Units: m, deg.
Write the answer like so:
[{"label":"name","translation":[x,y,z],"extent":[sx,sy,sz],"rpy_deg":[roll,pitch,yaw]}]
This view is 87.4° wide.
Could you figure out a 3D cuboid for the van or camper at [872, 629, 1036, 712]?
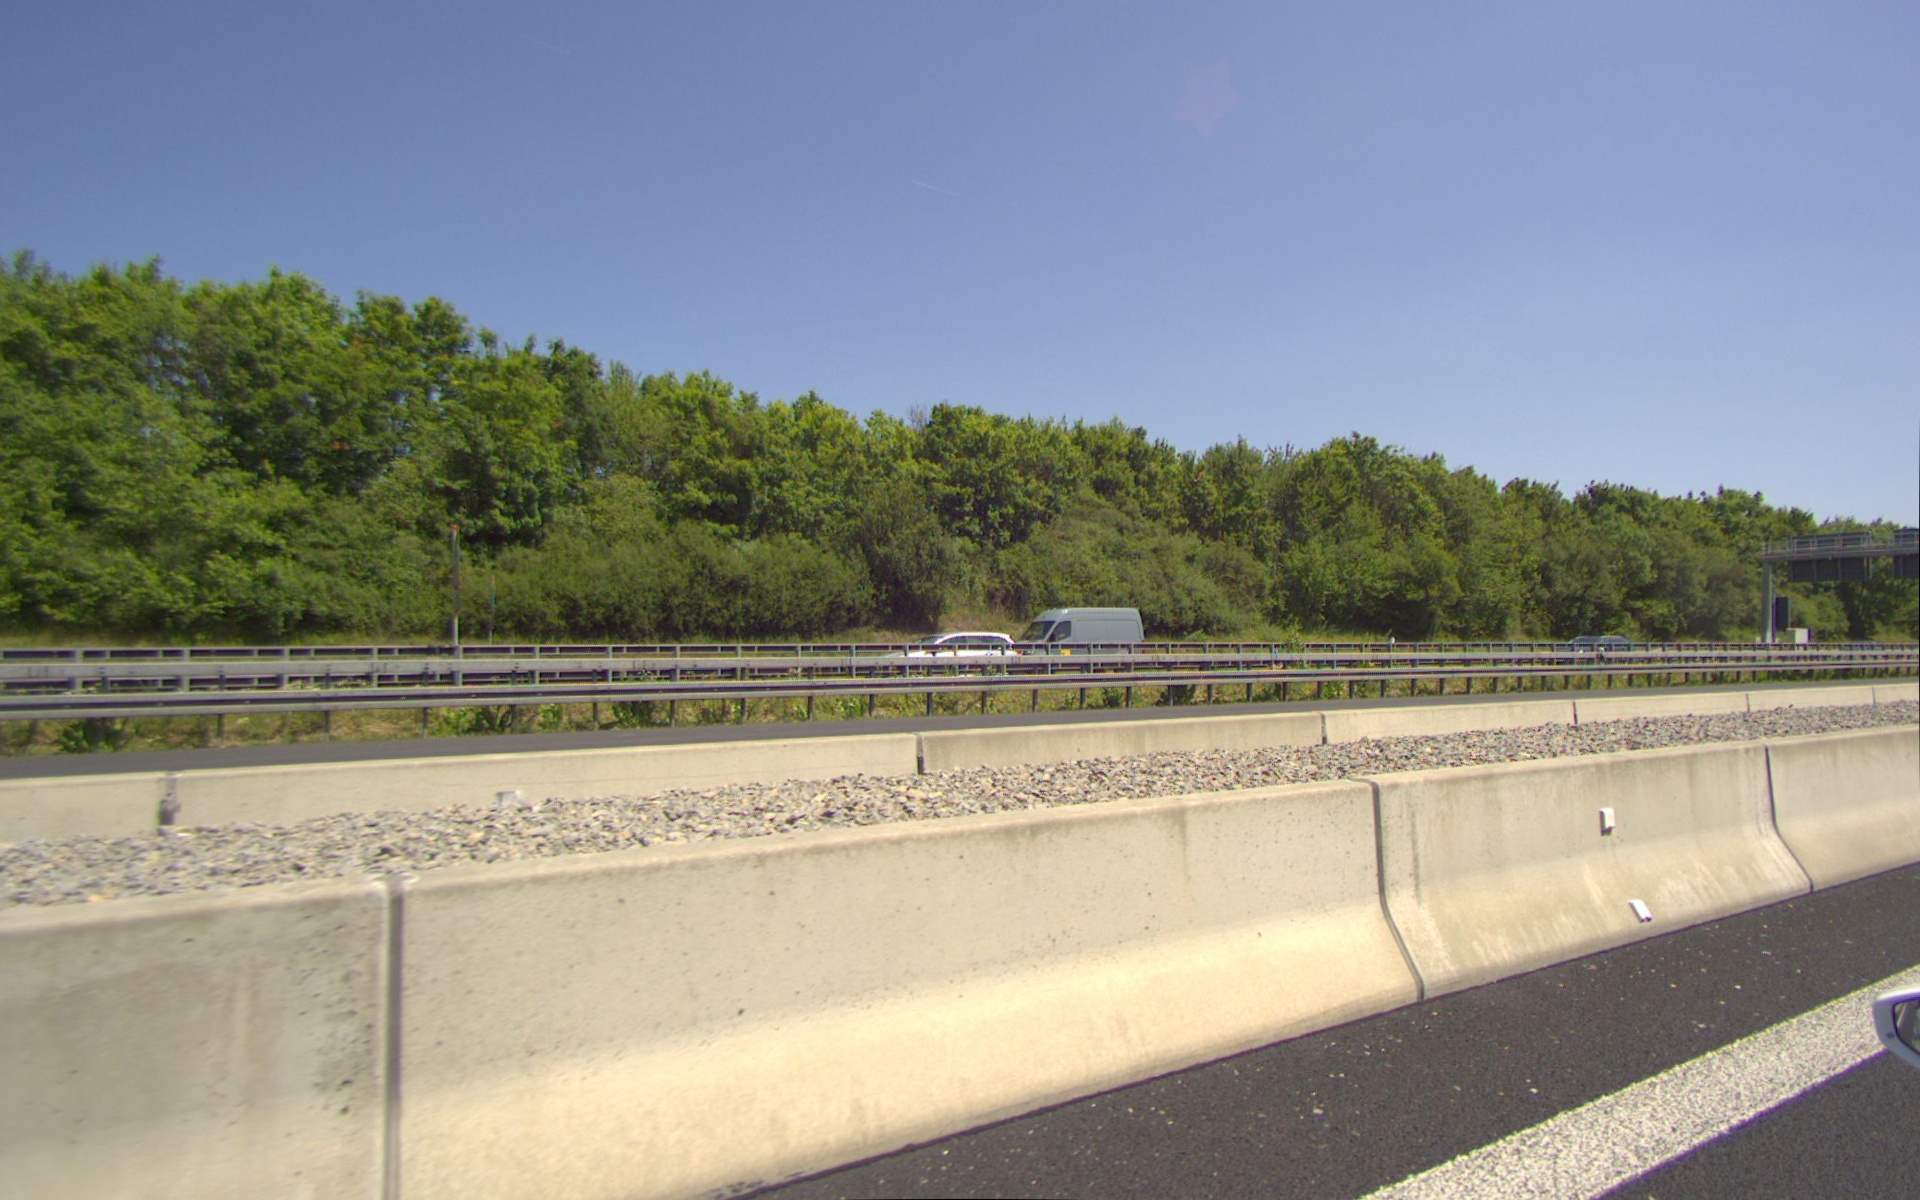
[{"label":"van or camper","translation":[-0.150,1.863,27.248],"extent":[3.953,2.040,1.984],"rpy_deg":[2,0,-30]}]

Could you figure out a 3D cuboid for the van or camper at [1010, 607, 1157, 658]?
[{"label":"van or camper","translation":[4.745,1.235,38.307],"extent":[5.460,1.822,1.985],"rpy_deg":[1,-1,-29]}]

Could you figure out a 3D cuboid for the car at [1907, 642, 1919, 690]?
[{"label":"car","translation":[33.457,2.229,33.492],"extent":[4.115,1.554,1.823],"rpy_deg":[2,0,-33]}]
